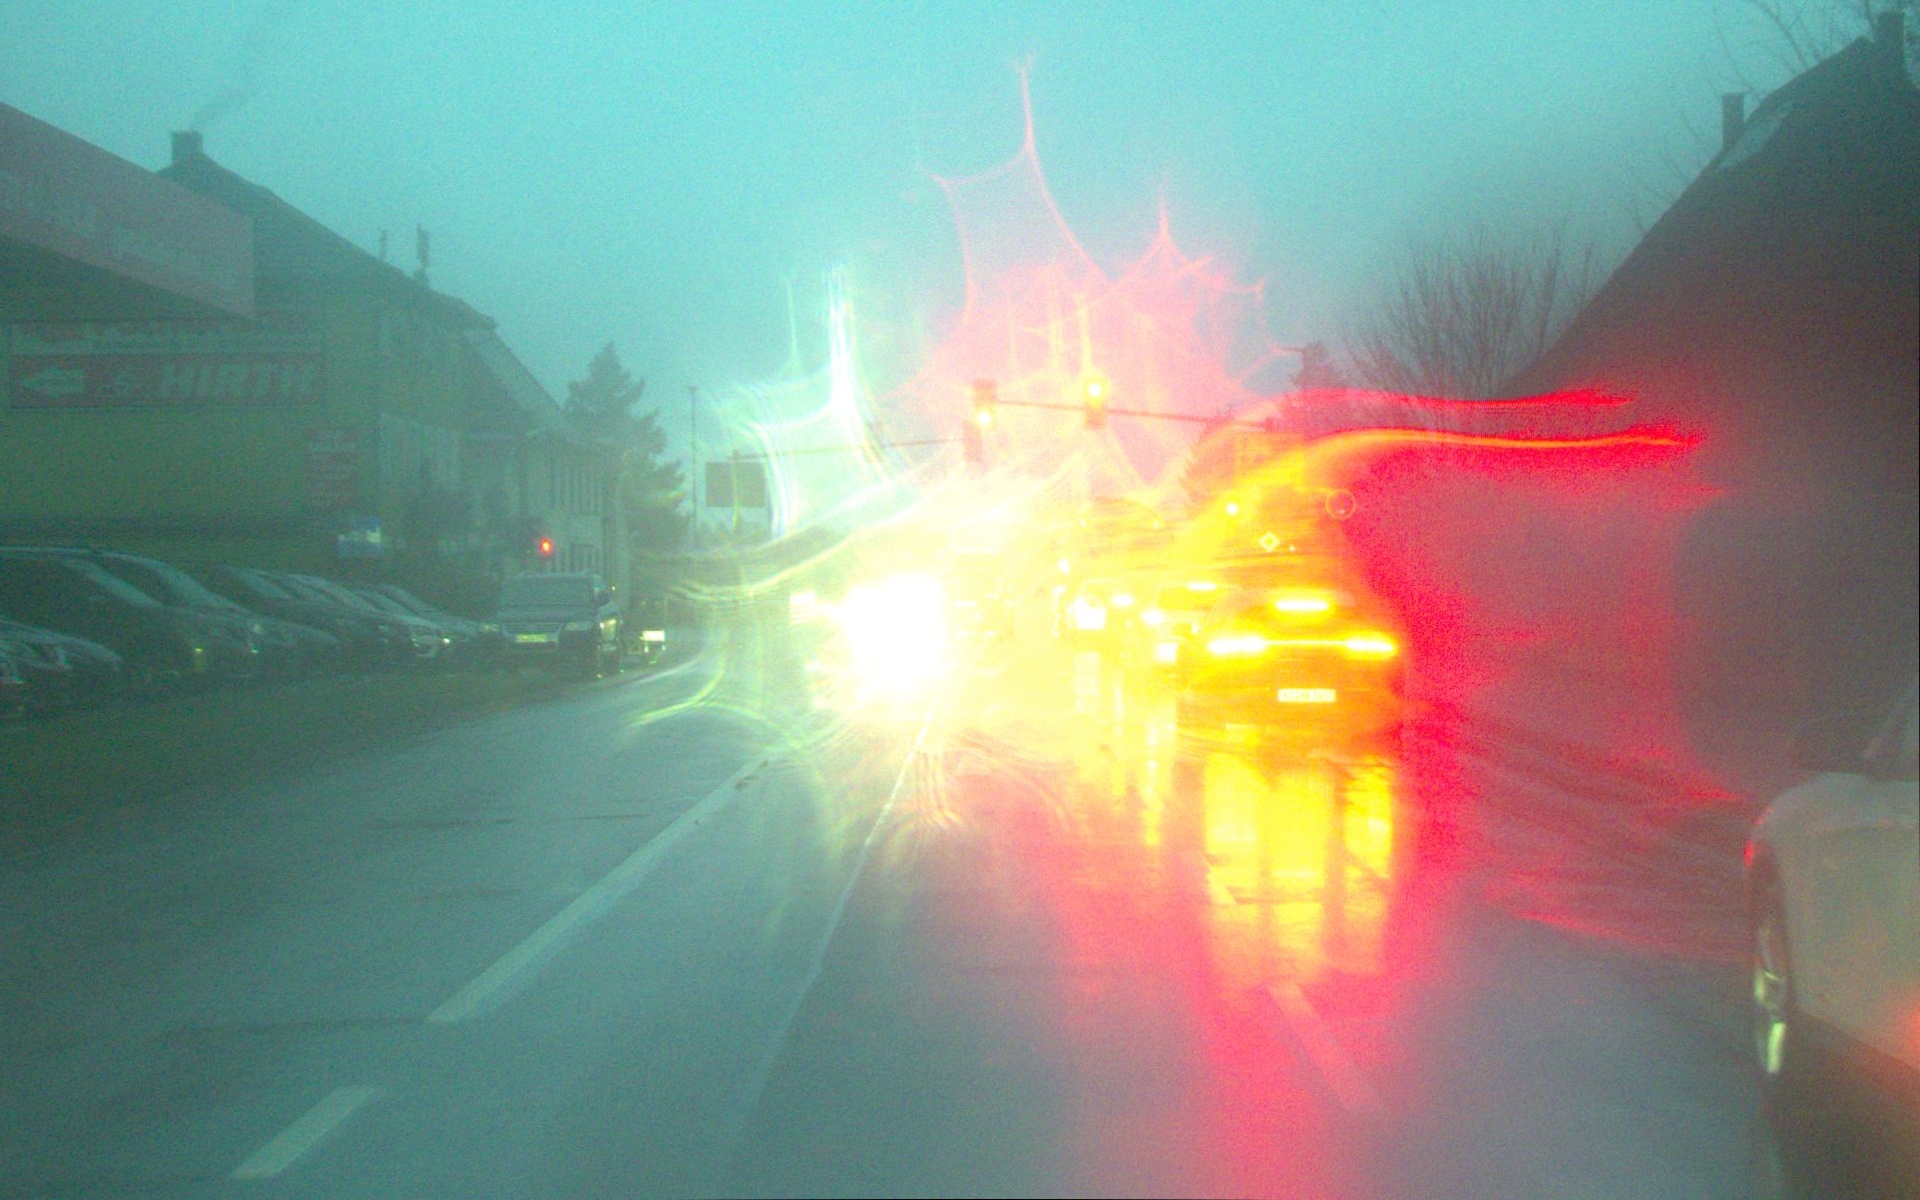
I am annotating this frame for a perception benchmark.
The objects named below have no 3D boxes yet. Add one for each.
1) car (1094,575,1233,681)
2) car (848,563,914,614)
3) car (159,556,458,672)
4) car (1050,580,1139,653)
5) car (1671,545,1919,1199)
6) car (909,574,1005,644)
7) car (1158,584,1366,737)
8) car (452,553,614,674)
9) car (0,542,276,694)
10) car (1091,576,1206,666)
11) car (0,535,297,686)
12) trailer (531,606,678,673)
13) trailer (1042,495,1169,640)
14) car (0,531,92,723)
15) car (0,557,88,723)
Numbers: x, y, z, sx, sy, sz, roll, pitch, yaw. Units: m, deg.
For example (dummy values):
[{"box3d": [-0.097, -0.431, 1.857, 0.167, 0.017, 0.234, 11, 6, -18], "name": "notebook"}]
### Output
[{"box3d": [2.681, 0.341, 46.036, 1.653, 1.331, 4.272, 0, 1, 1], "name": "car"}, {"box3d": [-2.820, -0.428, 124.012, 1.994, 1.740, 4.000, -1, 0, 4], "name": "car"}, {"box3d": [-10.284, 0.204, 54.469, 4.277, 1.622, 2.000, 3, 1, 1], "name": "car"}, {"box3d": [2.748, 0.321, 70.995, 1.662, 1.434, 4.381, 1, 0, 0], "name": "car"}, {"box3d": [2.961, 0.656, 8.079, 1.708, 1.570, 4.464, 0, 1, 1], "name": "car"}, {"box3d": [-0.103, 0.198, 80.681, 2.047, 1.567, 4.703, -1, 0, -2], "name": "car"}, {"box3d": [2.861, 0.533, 33.386, 1.641, 1.362, 4.769, 0, 0, 1], "name": "car"}, {"box3d": [-6.817, 0.179, 55.310, 1.970, 1.824, 4.512, -1, 1, 0], "name": "car"}, {"box3d": [-10.661, 0.178, 41.671, 4.277, 1.657, 2.000, 3, 1, 1], "name": "car"}, {"box3d": [3.428, 0.359, 63.184, 1.836, 1.563, 4.504, 1, 0, 0], "name": "car"}, {"box3d": [-10.989, 0.108, 44.690, 4.277, 1.757, 2.000, 3, 0, 1], "name": "car"}, {"box3d": [-6.444, 0.691, 62.936, 1.993, 1.035, 6.104, -1, 1, 0], "name": "trailer"}, {"box3d": [3.376, -0.750, 82.294, 2.488, 3.230, 10.869, 1, 0, 0], "name": "trailer"}, {"box3d": [-10.112, 0.220, 30.587, 4.280, 1.651, 1.981, 0, 1, 0], "name": "car"}, {"box3d": [-10.537, 0.361, 33.029, 3.858, 1.554, 1.840, 0, 1, 0], "name": "car"}]
